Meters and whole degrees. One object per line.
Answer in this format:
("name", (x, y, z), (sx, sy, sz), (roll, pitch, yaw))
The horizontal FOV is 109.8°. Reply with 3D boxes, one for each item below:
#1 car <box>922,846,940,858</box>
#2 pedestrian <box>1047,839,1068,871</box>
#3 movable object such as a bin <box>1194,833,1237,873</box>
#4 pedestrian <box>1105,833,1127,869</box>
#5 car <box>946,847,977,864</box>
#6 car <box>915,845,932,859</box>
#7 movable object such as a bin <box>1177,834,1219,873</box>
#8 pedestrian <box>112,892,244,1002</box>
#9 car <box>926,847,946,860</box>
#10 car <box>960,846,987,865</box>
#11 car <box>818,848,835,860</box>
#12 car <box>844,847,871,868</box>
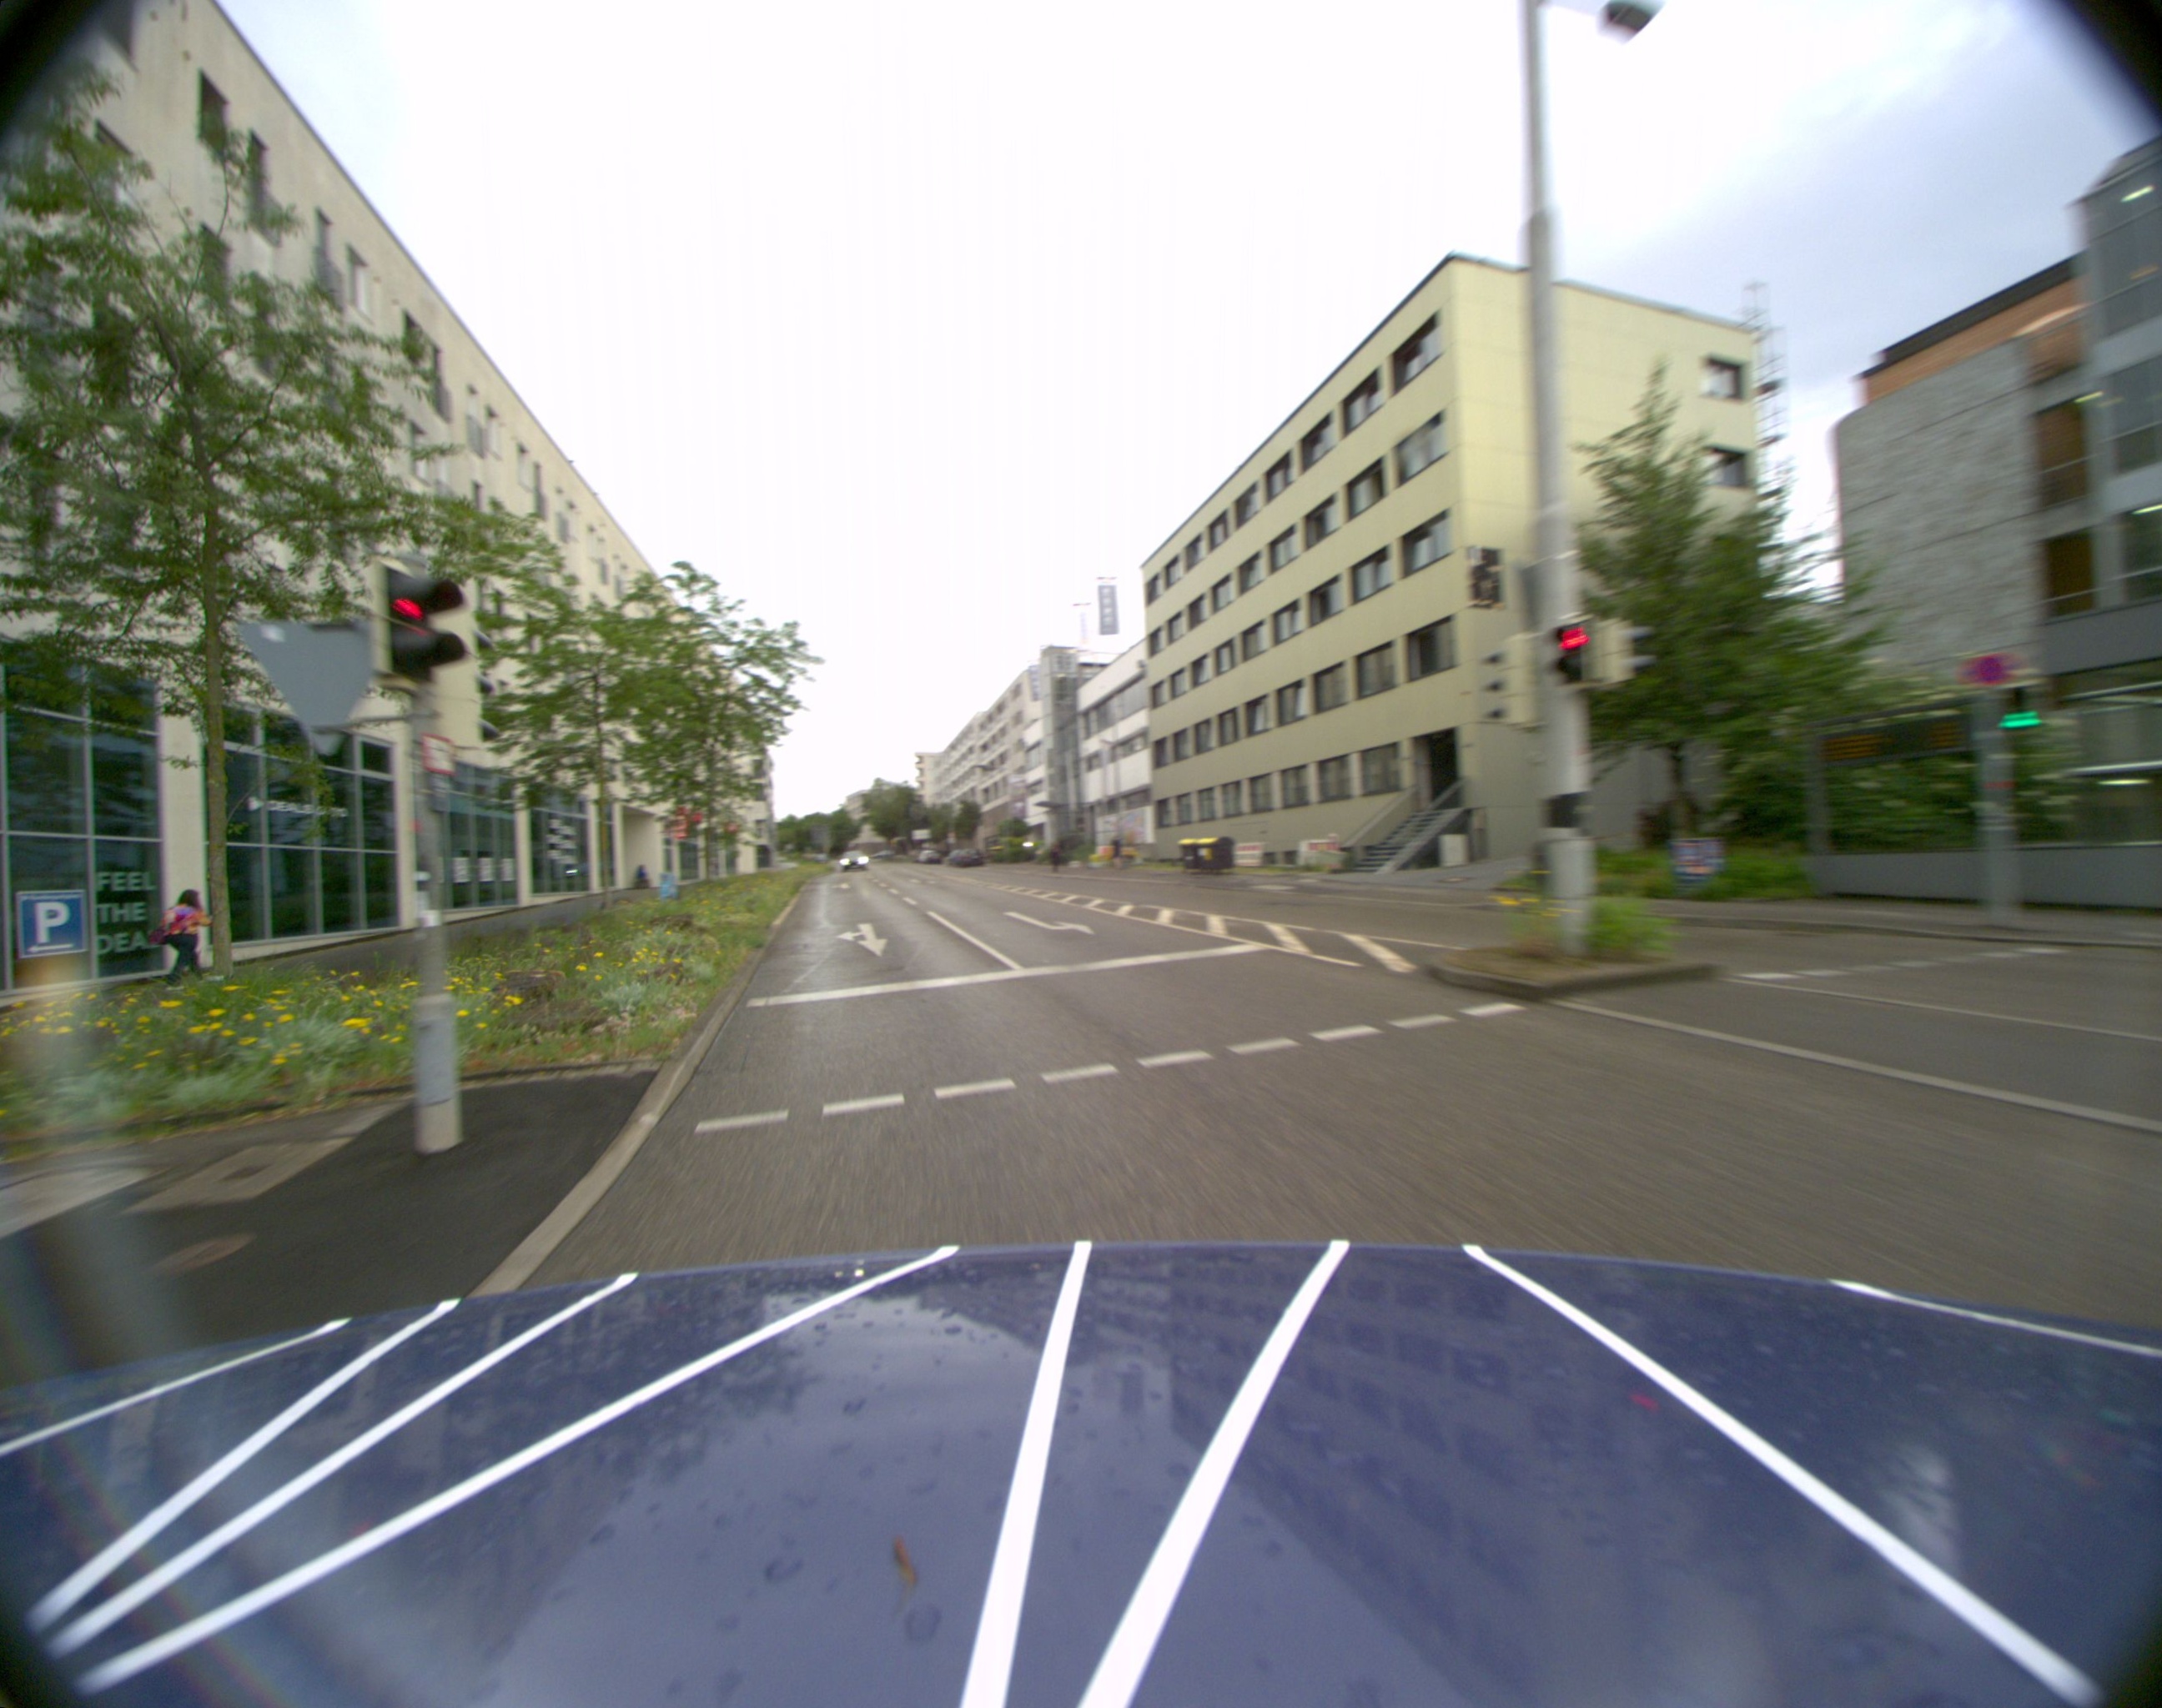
("car", (-17.661, -0.251, 89.371), (1.600, 1.459, 3.416), (0, 1, -19))
("pedestrian", (-1.282, 0.021, 41.397), (0.770, 1.667, 0.967), (-5, 3, -16))
("movable object such as a bin", (5.150, -0.051, 29.135), (1.058, 1.437, 1.356), (-6, 3, -16))
("pedestrian", (1.752, -0.154, 37.915), (0.758, 1.722, 0.940), (-5, 3, -15))
("car", (-10.501, 0.120, 66.656), (1.663, 1.395, 4.261), (-3, 1, -23))
("car", (-19.573, -0.269, 94.406), (1.633, 1.609, 3.966), (0, 1, -18))
("movable object such as a bin", (4.679, -0.025, 30.532), (1.058, 1.437, 1.428), (-6, 3, -16))
("pedestrian", (-15.483, 1.557, 13.074), (0.875, 1.702, 1.087), (-5, 1, -13))
("car", (-16.299, -0.067, 85.188), (1.664, 1.383, 3.732), (-1, 1, -20))
("car", (-8.921, 0.125, 62.733), (1.521, 1.501, 2.976), (-1, 1, -23))
("car", (-35.482, -0.068, 106.007), (2.001, 1.478, 3.993), (-5, 3, -15))
("car", (-19.018, 0.293, 64.821), (2.001, 1.565, 3.993), (-5, 3, -15))
